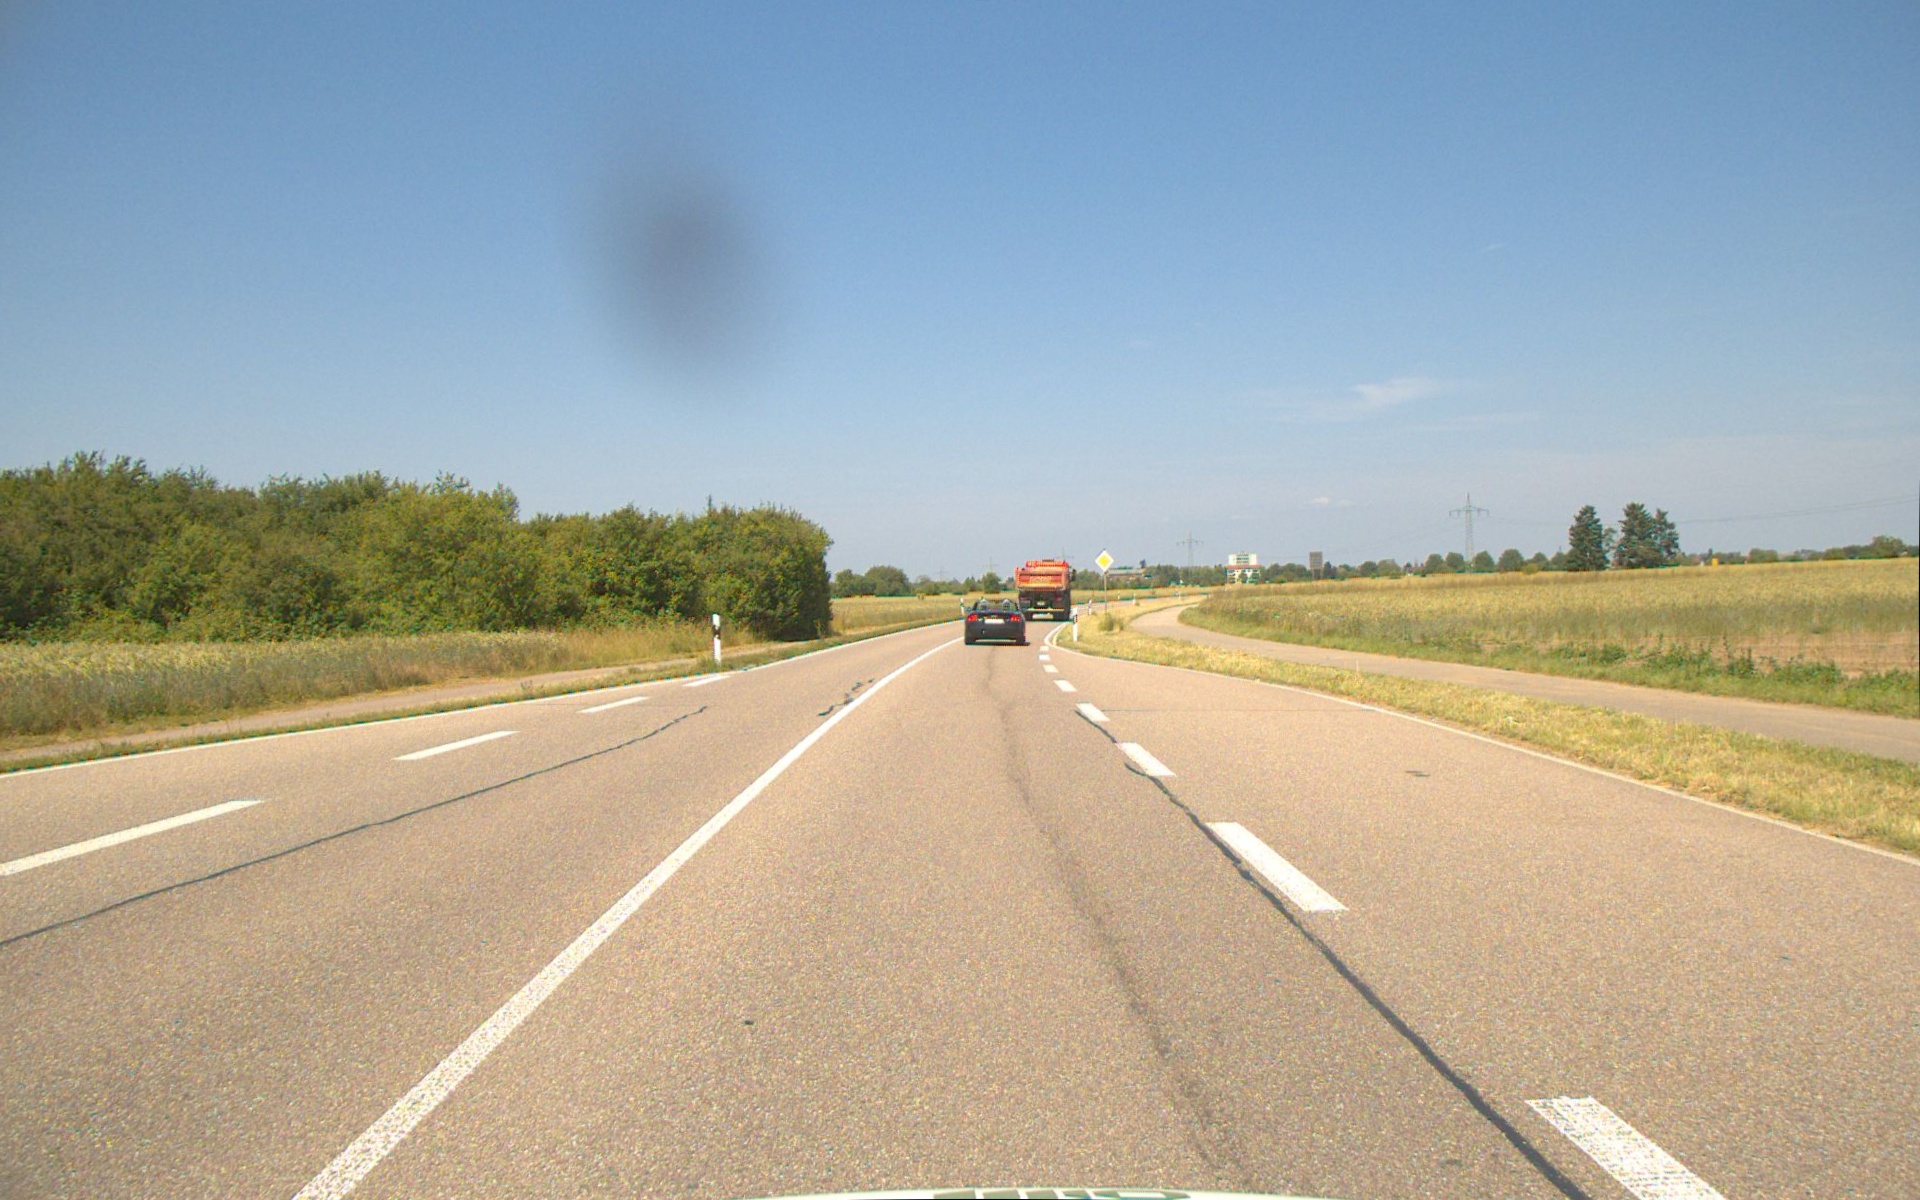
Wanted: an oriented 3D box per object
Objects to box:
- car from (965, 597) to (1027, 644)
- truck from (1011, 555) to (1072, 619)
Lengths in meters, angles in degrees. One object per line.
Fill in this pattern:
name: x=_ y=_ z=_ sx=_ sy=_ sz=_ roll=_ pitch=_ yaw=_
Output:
car: x=1.089 y=0.573 z=48.167 sx=1.707 sy=1.302 sz=4.001 roll=0 pitch=0 yaw=2
truck: x=4.281 y=-0.666 z=85.615 sx=2.876 sy=3.143 sz=7.200 roll=-1 pitch=0 yaw=4
